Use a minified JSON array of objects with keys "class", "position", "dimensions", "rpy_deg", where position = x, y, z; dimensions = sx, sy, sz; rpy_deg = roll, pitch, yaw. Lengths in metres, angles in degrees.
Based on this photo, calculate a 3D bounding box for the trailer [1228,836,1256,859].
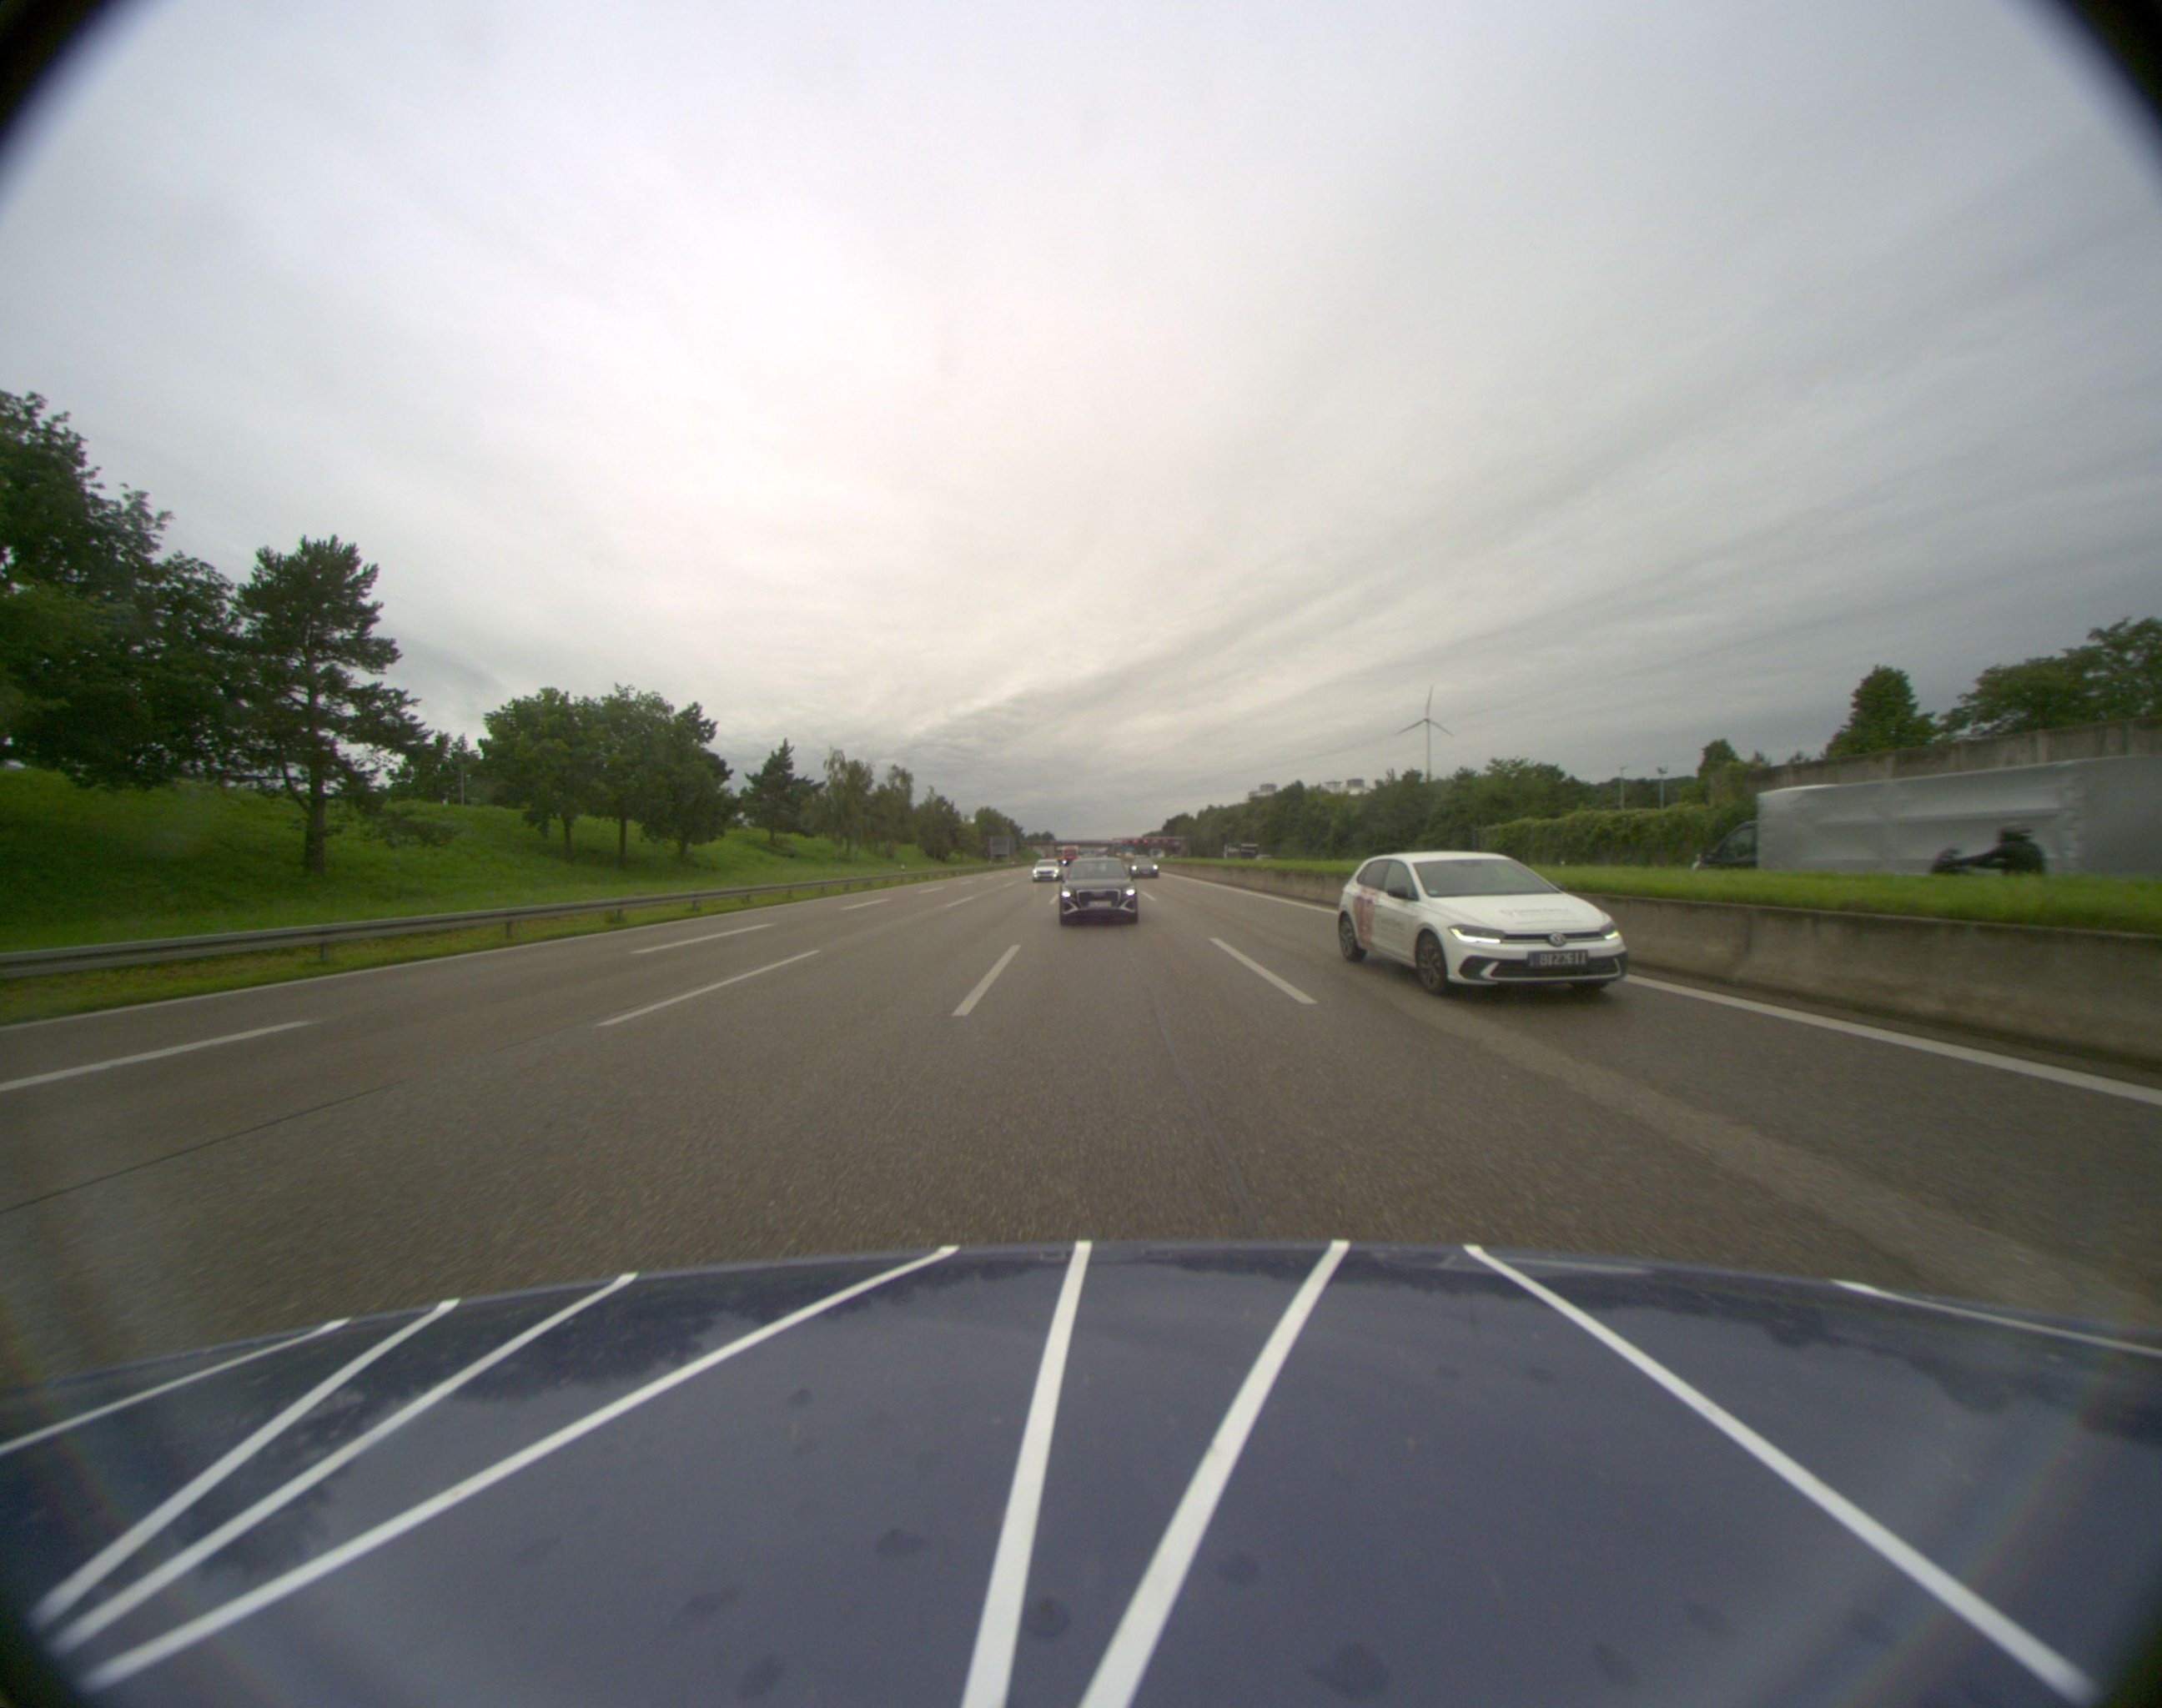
[{"class":"trailer","position":[24.754,-1.057,117.495],"dimensions":[2.312,3.271,10.562],"rpy_deg":[-2,1,2]}]

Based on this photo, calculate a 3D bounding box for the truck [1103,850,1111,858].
[{"class":"truck","position":[6.862,-0.062,200.751],"dimensions":[1.998,2.002,4.000],"rpy_deg":[-2,0,1]}]

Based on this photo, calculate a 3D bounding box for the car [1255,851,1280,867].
[{"class":"car","position":[21.418,0.545,87.502],"dimensions":[1.787,1.623,4.293],"rpy_deg":[-2,1,0]}]

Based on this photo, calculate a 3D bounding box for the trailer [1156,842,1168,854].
[{"class":"trailer","position":[22.464,-1.609,211.214],"dimensions":[2.784,3.059,7.872],"rpy_deg":[-2,1,1]}]

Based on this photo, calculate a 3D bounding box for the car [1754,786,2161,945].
[{"class":"car","position":[13.188,0.134,11.896],"dimensions":[1.772,2.002,4.000],"rpy_deg":[-2,1,1]}]

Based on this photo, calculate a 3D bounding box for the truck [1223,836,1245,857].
[{"class":"truck","position":[25.007,-1.158,124.206],"dimensions":[2.321,3.254,6.581],"rpy_deg":[-2,1,1]}]

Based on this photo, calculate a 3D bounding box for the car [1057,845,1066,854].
[{"class":"car","position":[-4.766,-1.026,184.476],"dimensions":[1.998,2.002,4.000],"rpy_deg":[-2,1,2]}]

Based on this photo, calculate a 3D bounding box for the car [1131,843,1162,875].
[{"class":"car","position":[4.333,0.301,50.727],"dimensions":[1.725,2.002,3.851],"rpy_deg":[-2,1,1]}]

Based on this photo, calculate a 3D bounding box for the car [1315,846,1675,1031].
[{"class":"car","position":[4.376,0.737,9.041],"dimensions":[1.757,1.608,4.663],"rpy_deg":[-1,0,0]}]

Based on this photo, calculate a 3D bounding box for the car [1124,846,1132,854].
[{"class":"car","position":[15.289,-1.251,247.976],"dimensions":[2.064,2.371,7.322],"rpy_deg":[-2,1,0]}]

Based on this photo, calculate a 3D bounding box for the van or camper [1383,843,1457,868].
[{"class":"van or camper","position":[27.597,0.070,62.265],"dimensions":[2.197,1.790,8.435],"rpy_deg":[-2,1,0]}]

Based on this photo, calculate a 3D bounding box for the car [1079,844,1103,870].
[{"class":"car","position":[1.159,0.327,87.004],"dimensions":[2.459,2.726,8.265],"rpy_deg":[-2,1,1]}]

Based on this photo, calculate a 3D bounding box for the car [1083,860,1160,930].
[{"class":"car","position":[0.895,0.915,18.238],"dimensions":[1.616,1.403,3.326],"rpy_deg":[-2,1,0]}]

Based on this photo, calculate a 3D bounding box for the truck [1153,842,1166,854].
[{"class":"truck","position":[22.670,-1.736,220.849],"dimensions":[2.891,3.202,11.358],"rpy_deg":[-2,1,2]}]

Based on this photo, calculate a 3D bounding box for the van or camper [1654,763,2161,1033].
[{"class":"van or camper","position":[16.116,0.576,15.358],"dimensions":[2.714,3.925,8.401],"rpy_deg":[-2,1,1]}]

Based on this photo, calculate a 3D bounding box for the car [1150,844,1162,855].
[{"class":"car","position":[18.587,-1.150,187.588],"dimensions":[2.327,2.719,7.315],"rpy_deg":[-2,1,1]}]

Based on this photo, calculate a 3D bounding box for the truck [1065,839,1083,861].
[{"class":"truck","position":[-1.116,-0.741,134.987],"dimensions":[2.836,3.634,10.670],"rpy_deg":[-2,1,1]}]

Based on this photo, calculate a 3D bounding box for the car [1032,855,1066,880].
[{"class":"car","position":[-2.097,0.889,51.477],"dimensions":[1.998,1.555,4.910],"rpy_deg":[-2,0,1]}]
